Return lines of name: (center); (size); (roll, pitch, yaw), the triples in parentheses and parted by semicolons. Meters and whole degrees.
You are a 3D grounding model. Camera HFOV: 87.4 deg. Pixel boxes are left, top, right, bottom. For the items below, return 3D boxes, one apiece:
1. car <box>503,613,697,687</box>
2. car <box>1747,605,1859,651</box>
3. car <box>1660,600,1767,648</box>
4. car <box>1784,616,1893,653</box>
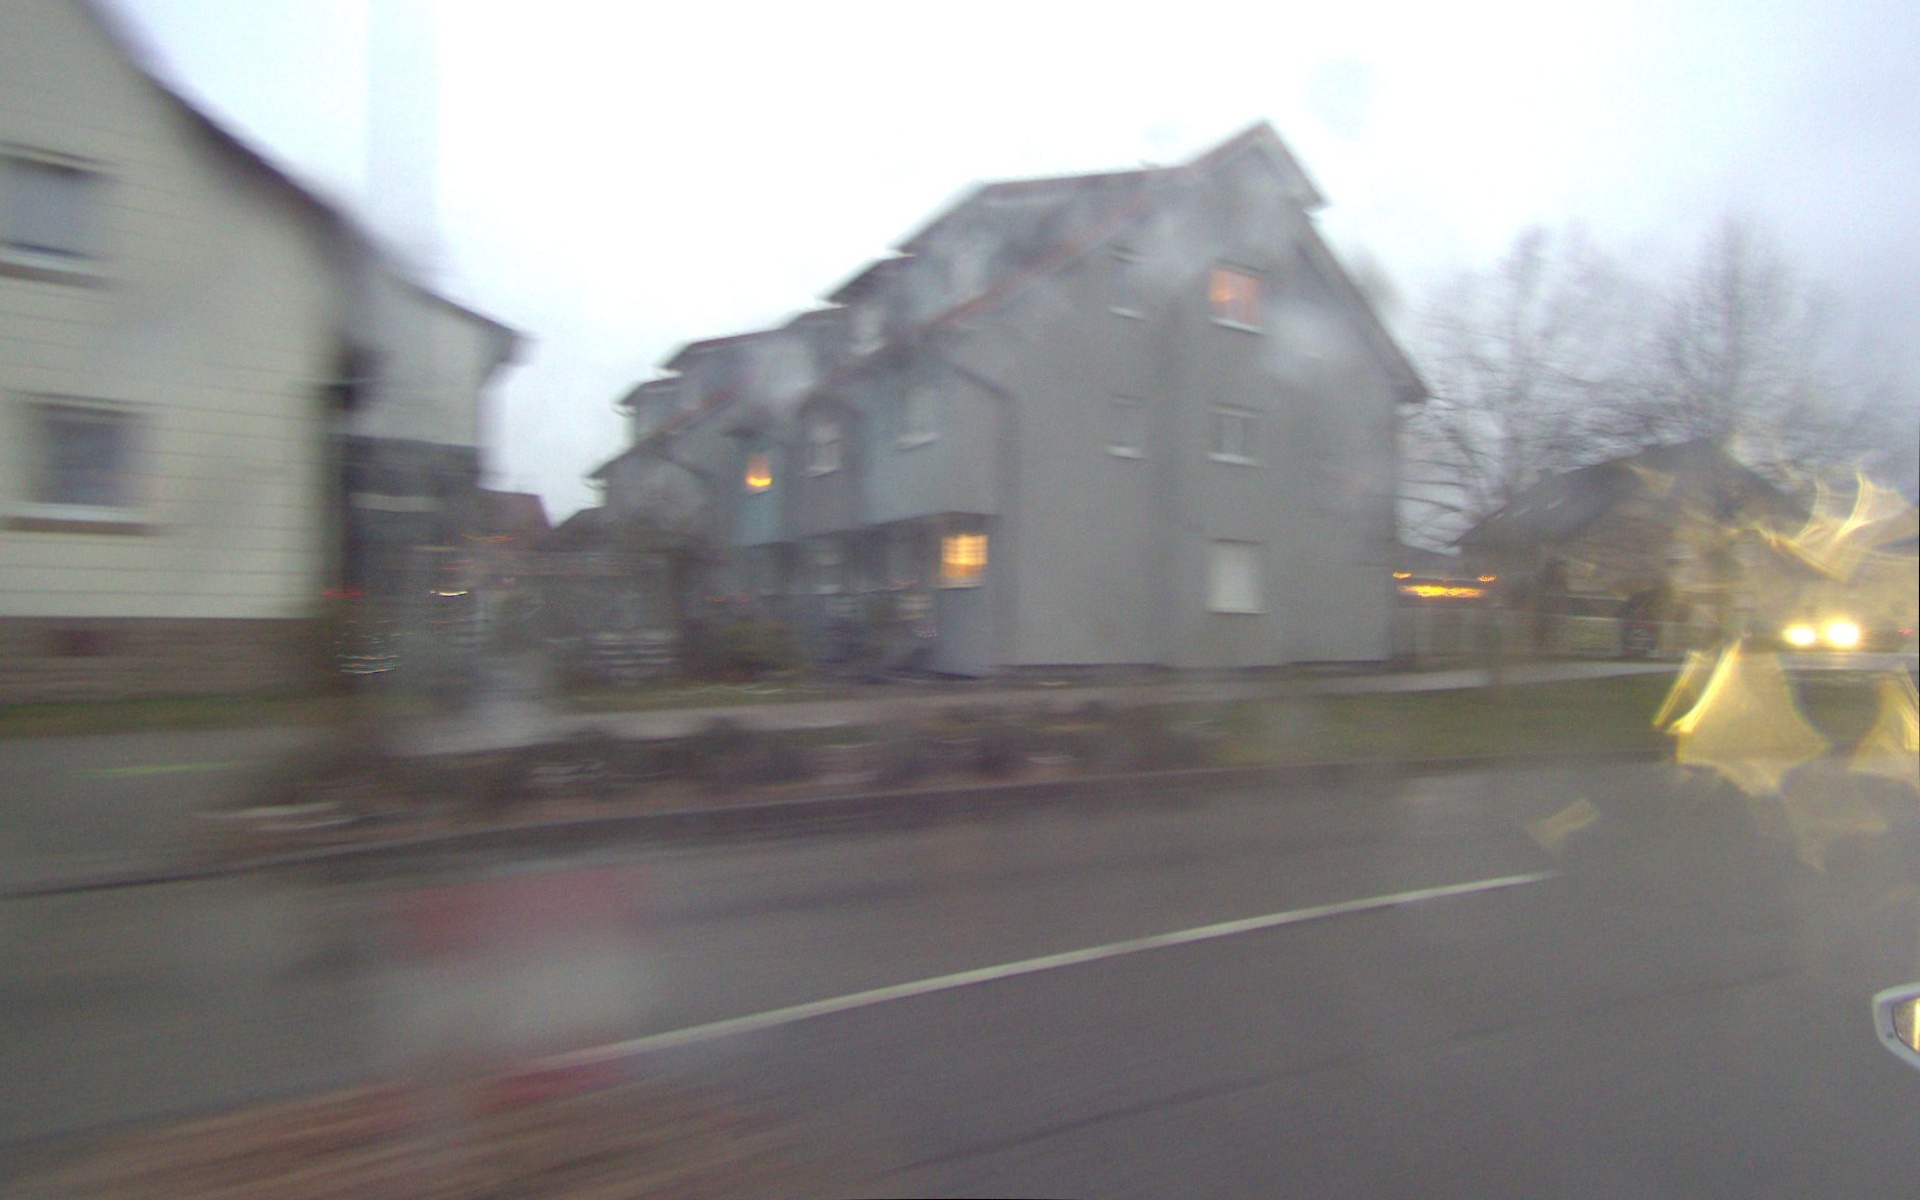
car: (-8.279, 1.128, 23.121); (3.950, 1.546, 1.900); (2, 0, -28)
car: (38.935, 1.276, 46.400); (4.154, 2.041, 1.993); (1, 1, -17)
car: (34.057, 1.067, 45.421); (3.935, 2.041, 1.917); (1, 1, -17)
car: (36.710, 1.442, 41.967); (4.267, 1.457, 1.388); (1, 1, -17)
